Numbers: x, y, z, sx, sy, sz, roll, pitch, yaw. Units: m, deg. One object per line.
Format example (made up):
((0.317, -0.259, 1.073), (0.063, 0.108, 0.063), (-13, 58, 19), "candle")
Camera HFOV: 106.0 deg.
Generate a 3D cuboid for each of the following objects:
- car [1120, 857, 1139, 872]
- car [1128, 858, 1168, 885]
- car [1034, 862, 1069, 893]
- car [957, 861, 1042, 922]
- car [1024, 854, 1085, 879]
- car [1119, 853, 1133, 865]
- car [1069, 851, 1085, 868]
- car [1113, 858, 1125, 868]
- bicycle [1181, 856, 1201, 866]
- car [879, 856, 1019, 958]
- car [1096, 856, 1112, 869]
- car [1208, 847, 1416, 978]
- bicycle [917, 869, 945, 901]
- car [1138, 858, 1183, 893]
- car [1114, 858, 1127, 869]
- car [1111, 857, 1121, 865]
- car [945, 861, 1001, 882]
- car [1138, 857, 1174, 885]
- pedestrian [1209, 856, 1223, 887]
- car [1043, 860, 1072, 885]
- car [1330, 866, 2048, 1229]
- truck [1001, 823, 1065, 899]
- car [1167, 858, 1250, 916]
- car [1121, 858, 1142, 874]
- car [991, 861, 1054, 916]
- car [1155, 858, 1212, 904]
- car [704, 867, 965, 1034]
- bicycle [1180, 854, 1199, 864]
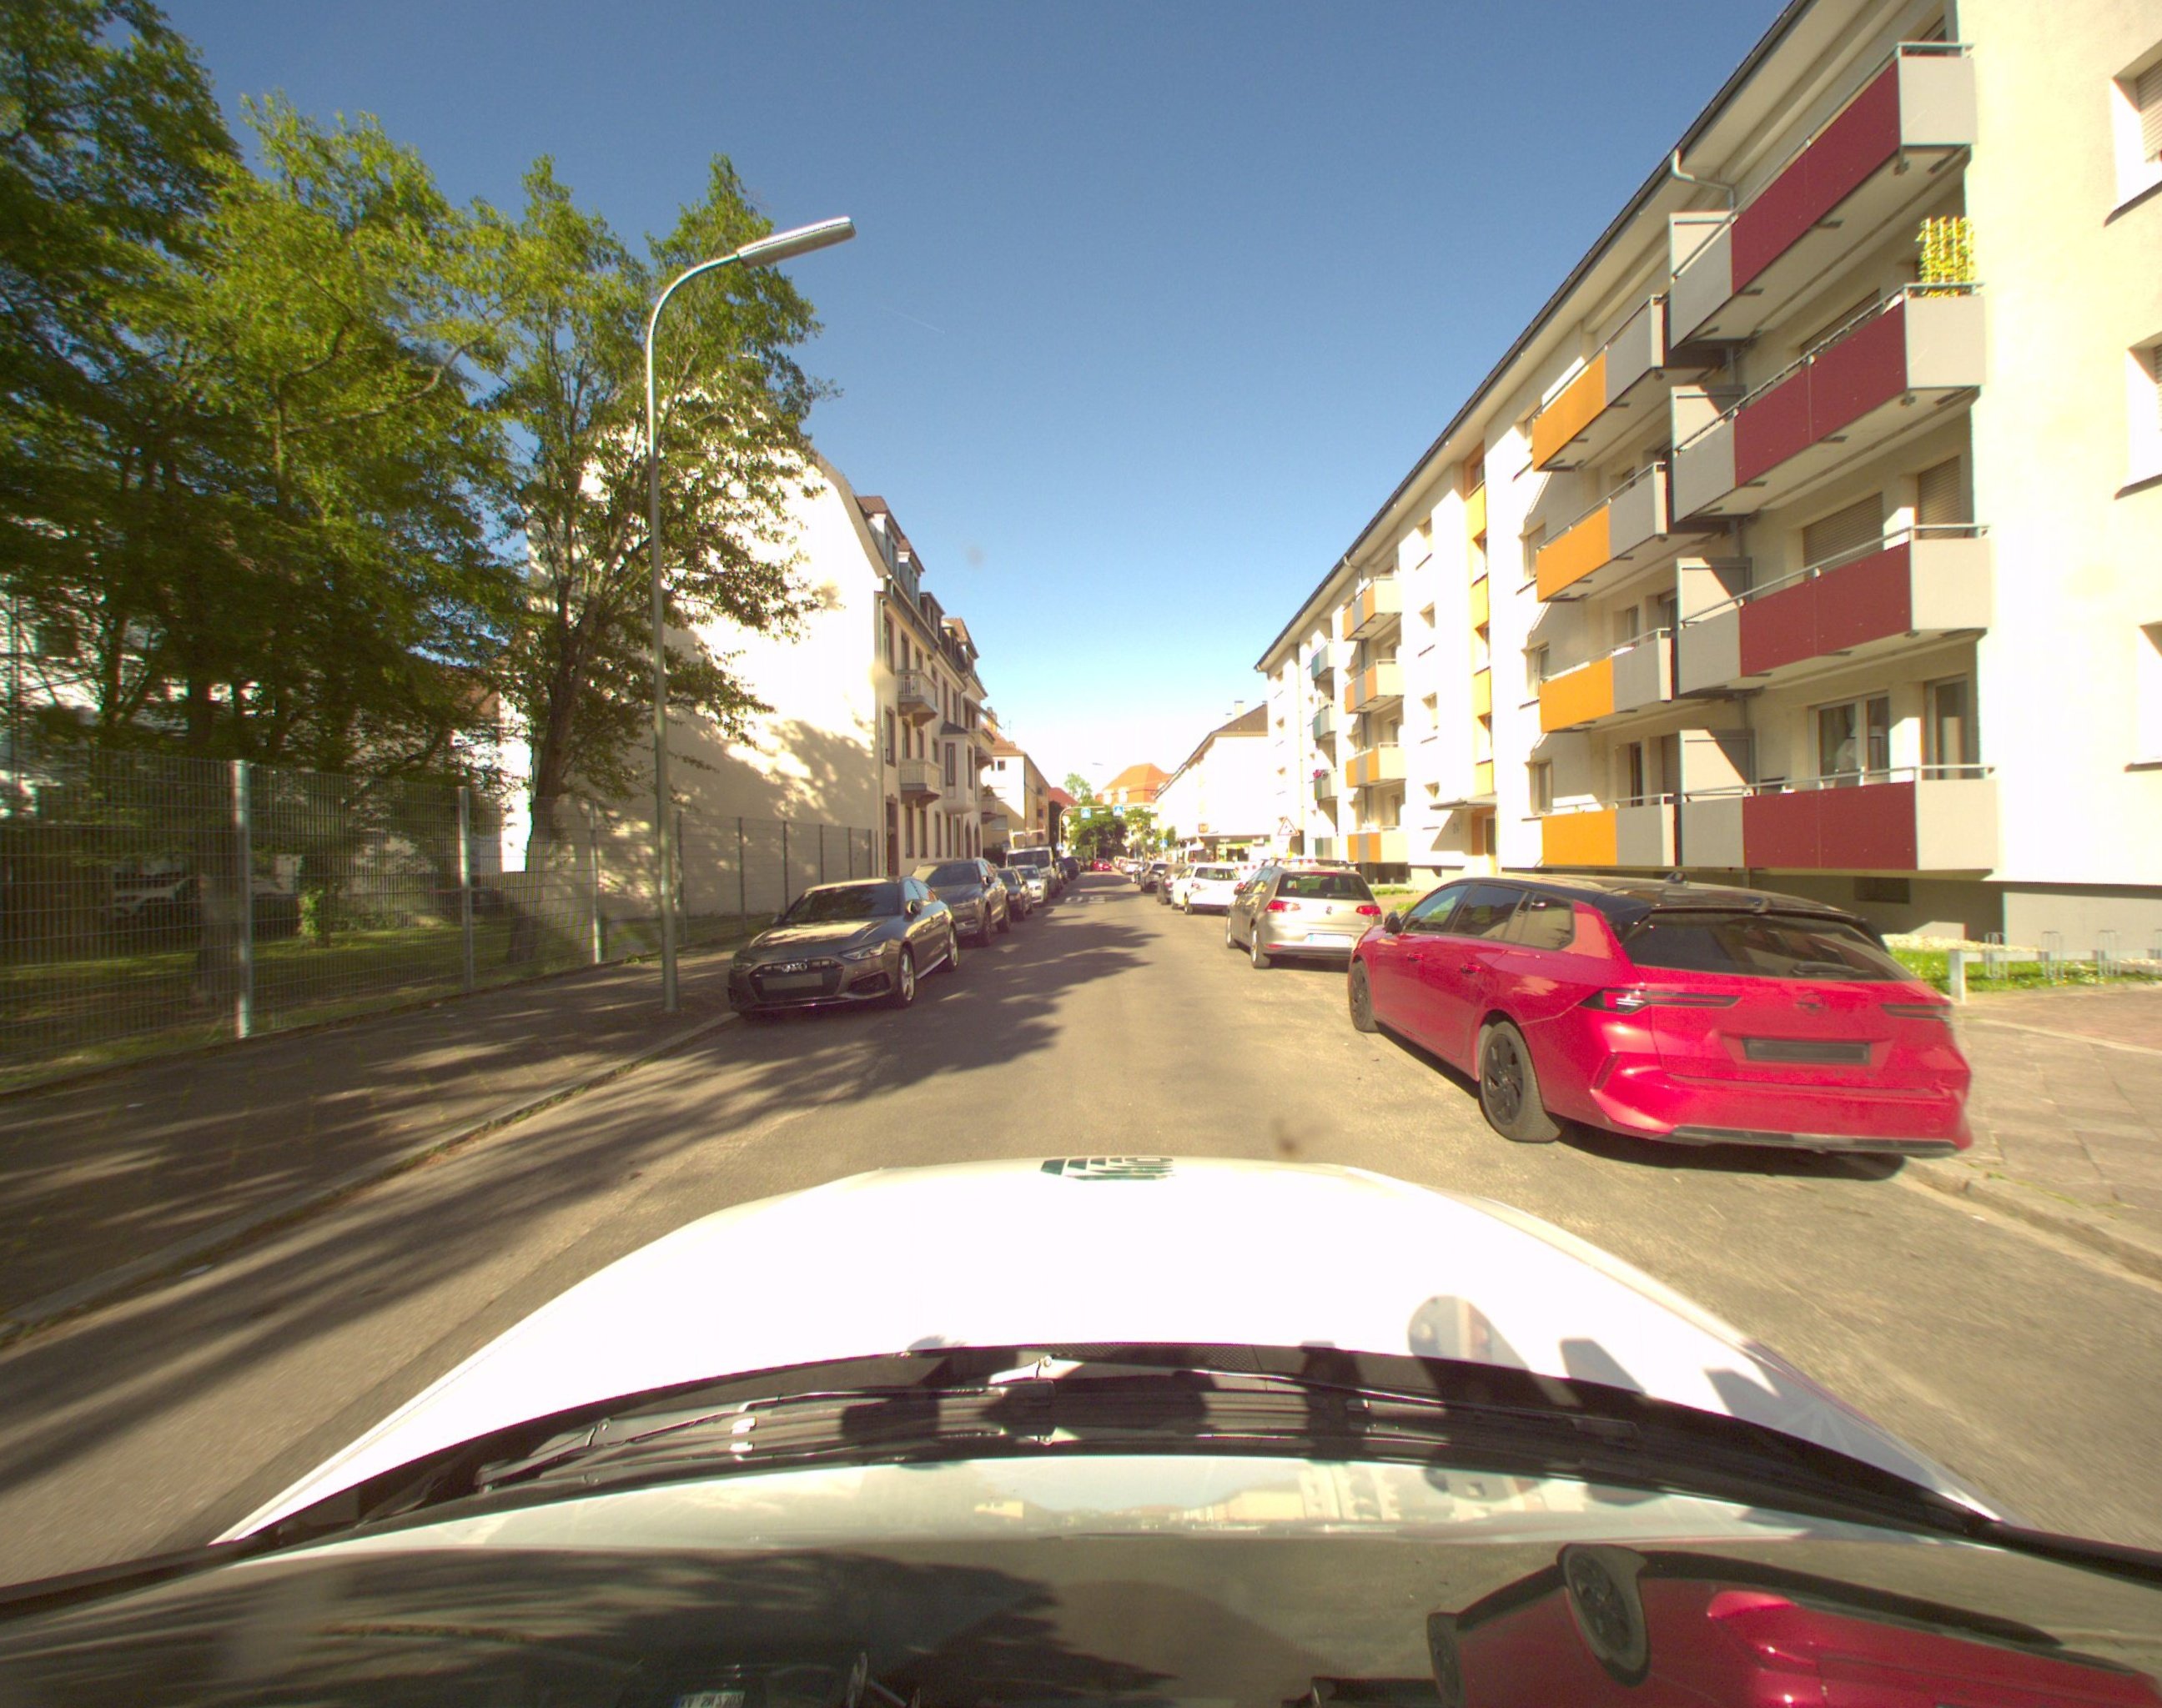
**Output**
((4.822, 1.005, 82.042), (1.685, 1.441, 3.418), (-1, 0, 0), "car")
((4.047, 1.050, 49.566), (1.849, 1.523, 4.772), (0, -1, -2), "car")
((-1.486, 1.211, 42.729), (1.640, 1.416, 4.079), (-5, -1, -1), "car")
((-2.183, 0.980, 22.934), (1.785, 1.563, 4.461), (0, -1, 2), "car")
((-1.870, 0.848, 57.951), (1.804, 1.633, 4.282), (-2, 0, 44), "car")
((5.984, 0.658, 108.827), (1.632, 1.441, 3.419), (-1, 0, 0), "car")
((-0.455, 0.623, 92.833), (1.691, 1.779, 4.100), (-1, 0, 2), "car")
((5.563, 1.277, 119.398), (1.632, 1.441, 3.419), (-1, 0, 0), "car")
((10.915, 0.675, 80.667), (1.806, 0.967, 0.671), (-1, -1, -10), "bicycle")
((-2.457, 0.928, 16.458), (1.872, 1.664, 4.932), (-3, -1, 1), "car")
((2.688, 0.977, 93.725), (1.690, 1.441, 3.423), (-1, 0, 4), "car")
((3.295, 0.759, 12.636), (1.892, 1.622, 4.601), (1, -1, 0), "car")
((-6.058, 1.229, 32.941), (0.627, 1.204, 2.341), (-1, 0, 1), "bicycle")
((3.701, 0.981, 38.579), (1.785, 1.471, 4.341), (3, -1, 2), "car")
((5.582, 1.333, 114.597), (1.632, 1.441, 3.419), (-1, 0, 0), "car")
((6.156, 1.242, 143.165), (1.632, 1.441, 3.419), (-1, 0, 0), "car")
((-8.241, 1.330, 62.077), (3.988, 1.479, 1.586), (-1, 0, -17), "car")
((4.063, 0.938, 44.551), (1.639, 1.460, 3.939), (0, -1, 1), "car")
((6.379, 0.843, 38.561), (0.573, 1.433, 0.472), (-2, 0, 3), "pedestrian")
((-1.483, 1.165, 52.466), (1.699, 1.416, 4.372), (-5, -1, -1), "car")
((3.186, 0.840, 5.628), (1.745, 1.444, 4.526), (-1, -1, 3), "car")
((-1.968, 0.319, 36.056), (2.251, 2.986, 7.275), (-1, -1, 1), "truck")
((3.687, 0.930, 24.163), (1.681, 1.463, 3.817), (4, -1, -2), "car")
((4.738, 1.091, 77.057), (1.839, 1.441, 3.419), (-1, 0, 0), "car")
((-1.993, 1.154, 29.061), (1.787, 1.540, 4.639), (-7, 0, -1), "car")
((3.563, 0.890, 28.850), (1.681, 1.467, 3.584), (1, 0, 2), "car")
((-2.701, 0.967, 10.105), (1.788, 1.471, 4.501), (-3, -1, 0), "car")
((10.812, 0.545, 81.299), (1.806, 0.967, 0.671), (-1, -1, -10), "bicycle")
